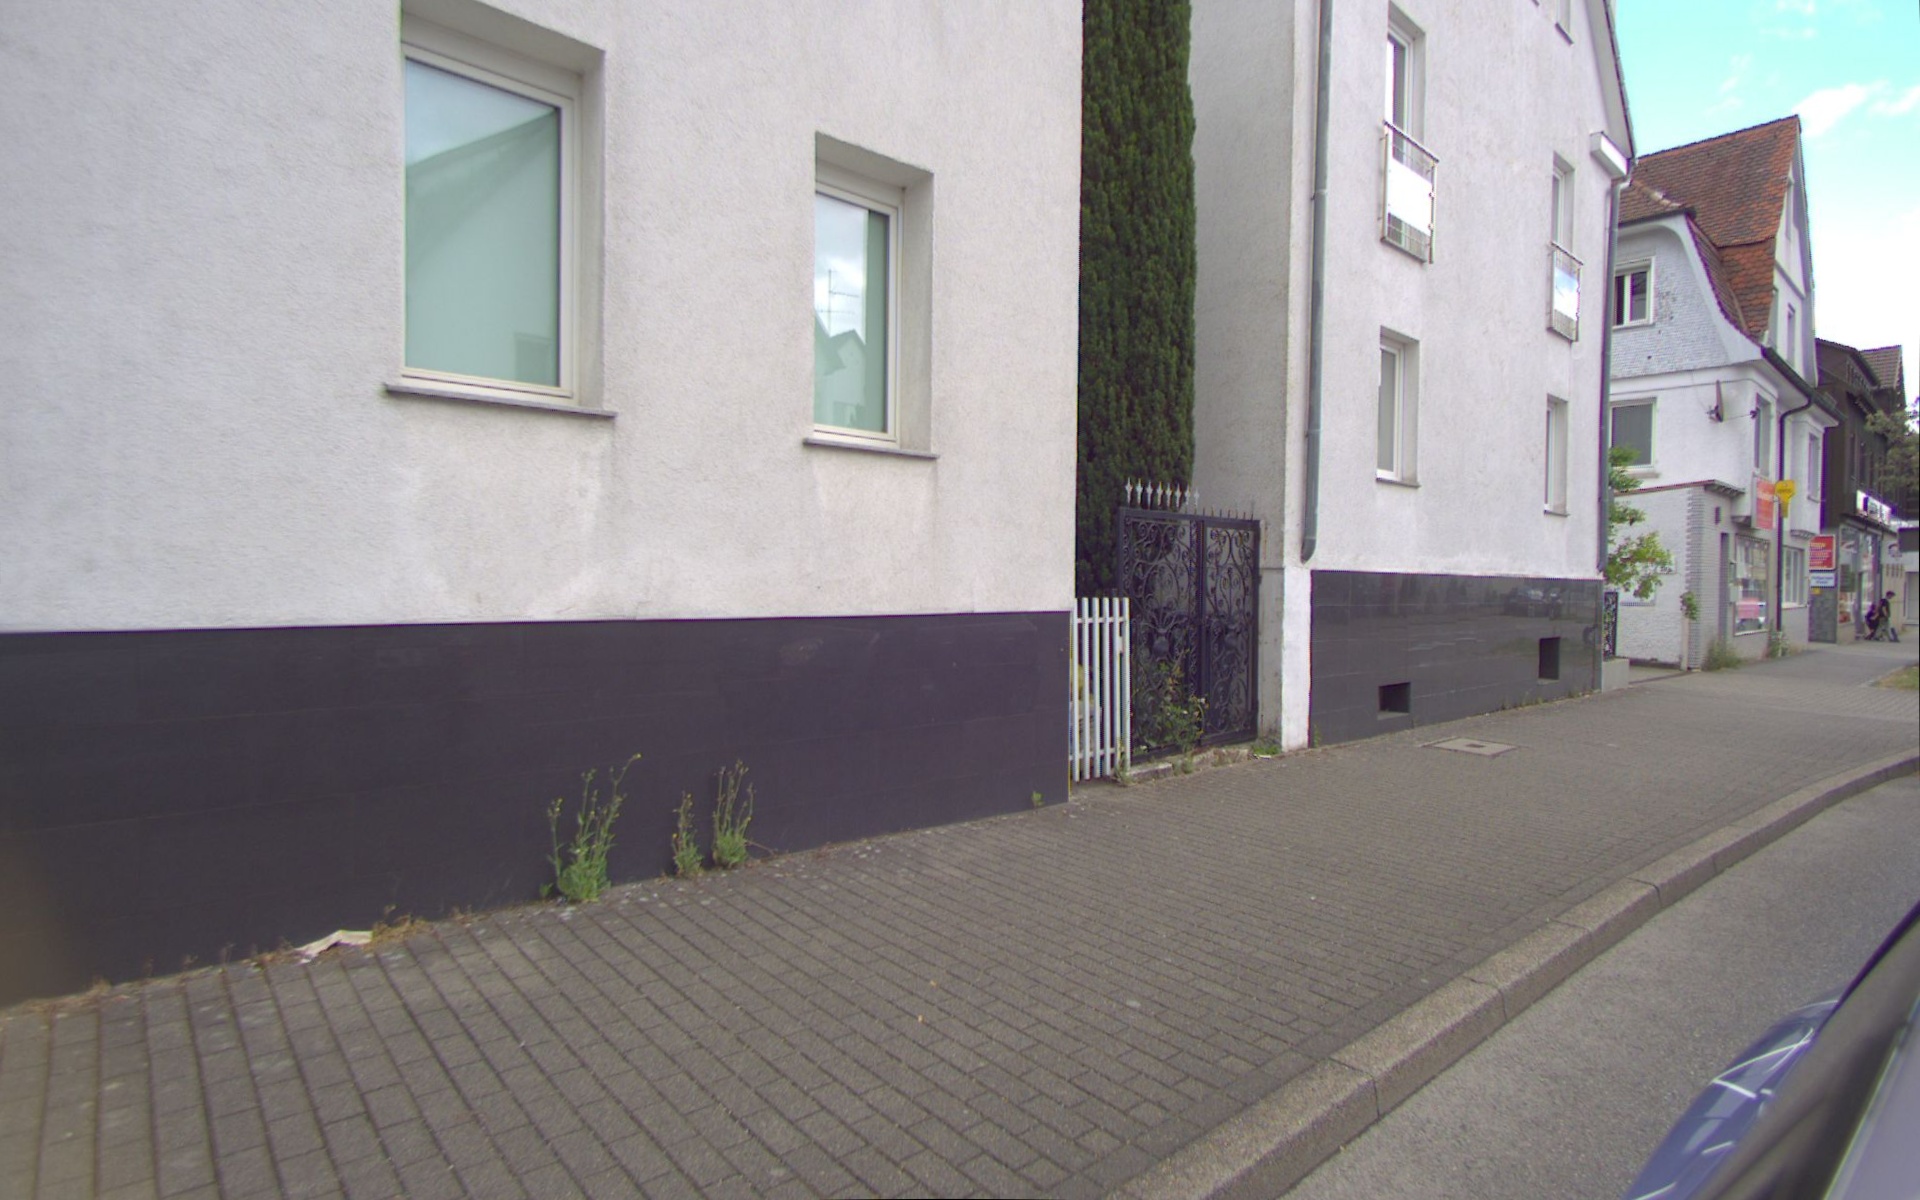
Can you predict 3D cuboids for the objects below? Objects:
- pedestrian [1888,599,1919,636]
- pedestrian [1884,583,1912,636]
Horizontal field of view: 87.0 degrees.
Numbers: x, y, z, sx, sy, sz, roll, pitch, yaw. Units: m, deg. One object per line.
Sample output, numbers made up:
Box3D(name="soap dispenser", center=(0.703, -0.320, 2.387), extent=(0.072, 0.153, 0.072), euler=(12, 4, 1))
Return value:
Box3D(name="pedestrian", center=(32.728, 0.612, 35.082), extent=(0.633, 1.226, 0.741), euler=(0, 2, -42))
Box3D(name="pedestrian", center=(32.090, 0.318, 34.631), extent=(0.642, 1.762, 0.731), euler=(3, 2, 43))
